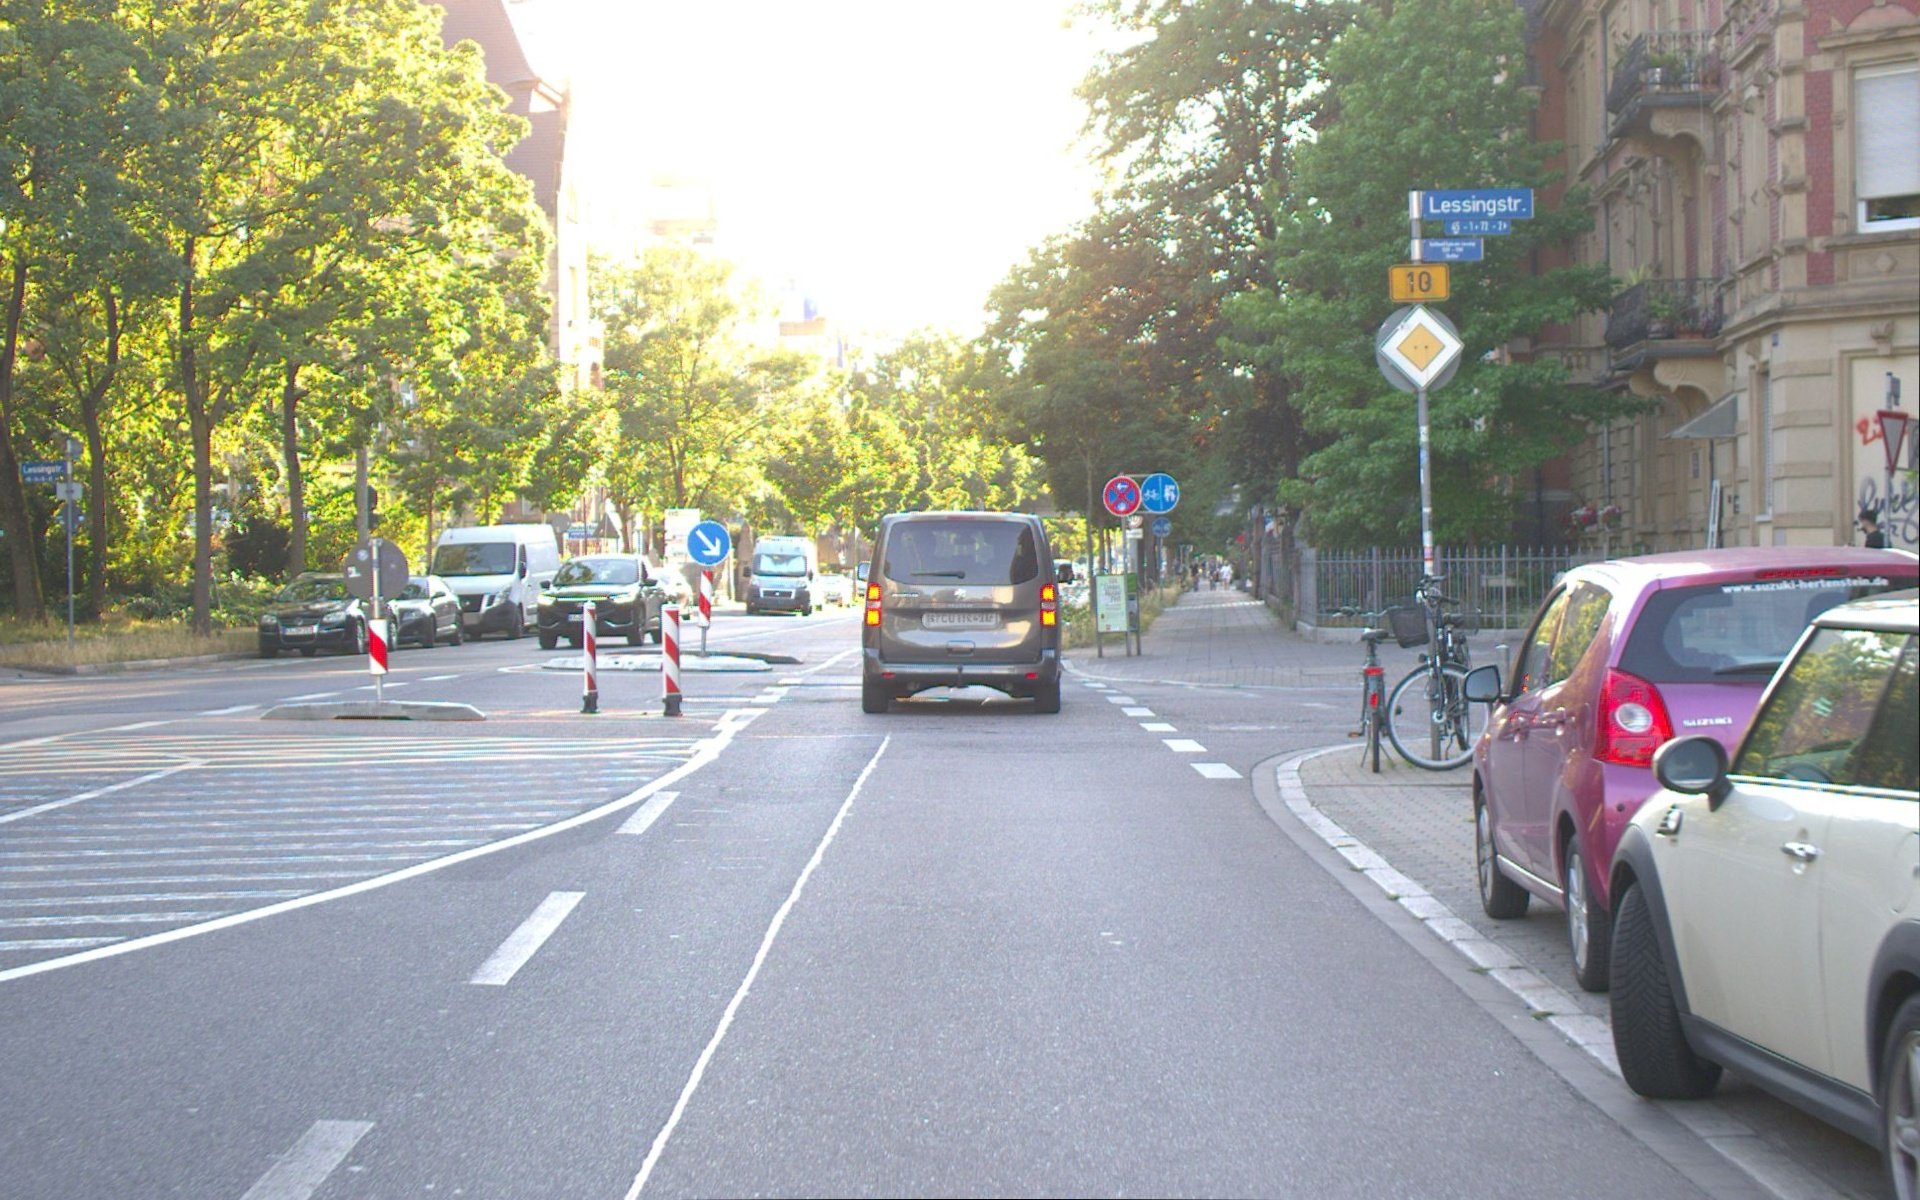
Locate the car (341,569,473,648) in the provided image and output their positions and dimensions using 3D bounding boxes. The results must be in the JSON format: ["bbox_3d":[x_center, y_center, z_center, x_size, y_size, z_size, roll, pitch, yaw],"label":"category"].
[{"bbox_3d":[-10.734,0.147,66.973,1.628,1.424,4.242,-1,1,3],"label":"car"}]

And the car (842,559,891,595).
[{"bbox_3d":[-3.904,-0.957,143.625,1.697,1.446,4.000,1,1,3],"label":"car"}]

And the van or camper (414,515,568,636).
[{"bbox_3d":[-10.101,-0.555,74.567,2.091,2.460,6.305,-1,1,3],"label":"van or camper"}]

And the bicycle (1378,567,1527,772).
[{"bbox_3d":[3.291,0.455,23.139,0.565,1.271,2.265,-4,-1,0],"label":"bicycle"}]

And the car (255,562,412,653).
[{"bbox_3d":[-11.023,0.103,60.755,1.624,1.501,4.543,-1,1,4],"label":"car"}]

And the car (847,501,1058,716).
[{"bbox_3d":[-0.054,0.047,33.207,1.887,1.918,3.839,-1,1,0],"label":"car"}]

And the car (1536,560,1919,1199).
[{"bbox_3d":[2.622,0.634,8.195,1.677,1.421,3.677,-4,1,-2],"label":"car"}]

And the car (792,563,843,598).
[{"bbox_3d":[-5.334,-0.752,129.071,1.536,1.244,3.614,1,1,3],"label":"car"}]

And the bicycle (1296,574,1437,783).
[{"bbox_3d":[2.714,0.515,23.131,0.565,1.295,2.265,-4,-1,0],"label":"bicycle"}]

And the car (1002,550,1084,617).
[{"bbox_3d":[2.148,-0.439,87.802,1.994,1.628,4.000,0,1,3],"label":"car"}]

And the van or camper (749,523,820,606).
[{"bbox_3d":[-5.820,-1.203,114.777,1.993,2.659,6.039,1,1,0],"label":"van or camper"}]

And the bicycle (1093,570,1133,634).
[{"bbox_3d":[2.887,0.032,65.024,0.646,1.163,1.931,1,1,0],"label":"bicycle"}]

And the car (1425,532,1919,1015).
[{"bbox_3d":[2.861,0.530,12.871,1.726,1.460,3.547,-4,1,1],"label":"car"}]

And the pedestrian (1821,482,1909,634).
[{"bbox_3d":[10.937,-0.512,41.570,0.745,1.772,0.831,-4,1,1],"label":"pedestrian"}]

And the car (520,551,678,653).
[{"bbox_3d":[-6.499,0.009,62.341,1.877,1.700,4.566,-3,0,6],"label":"car"}]
